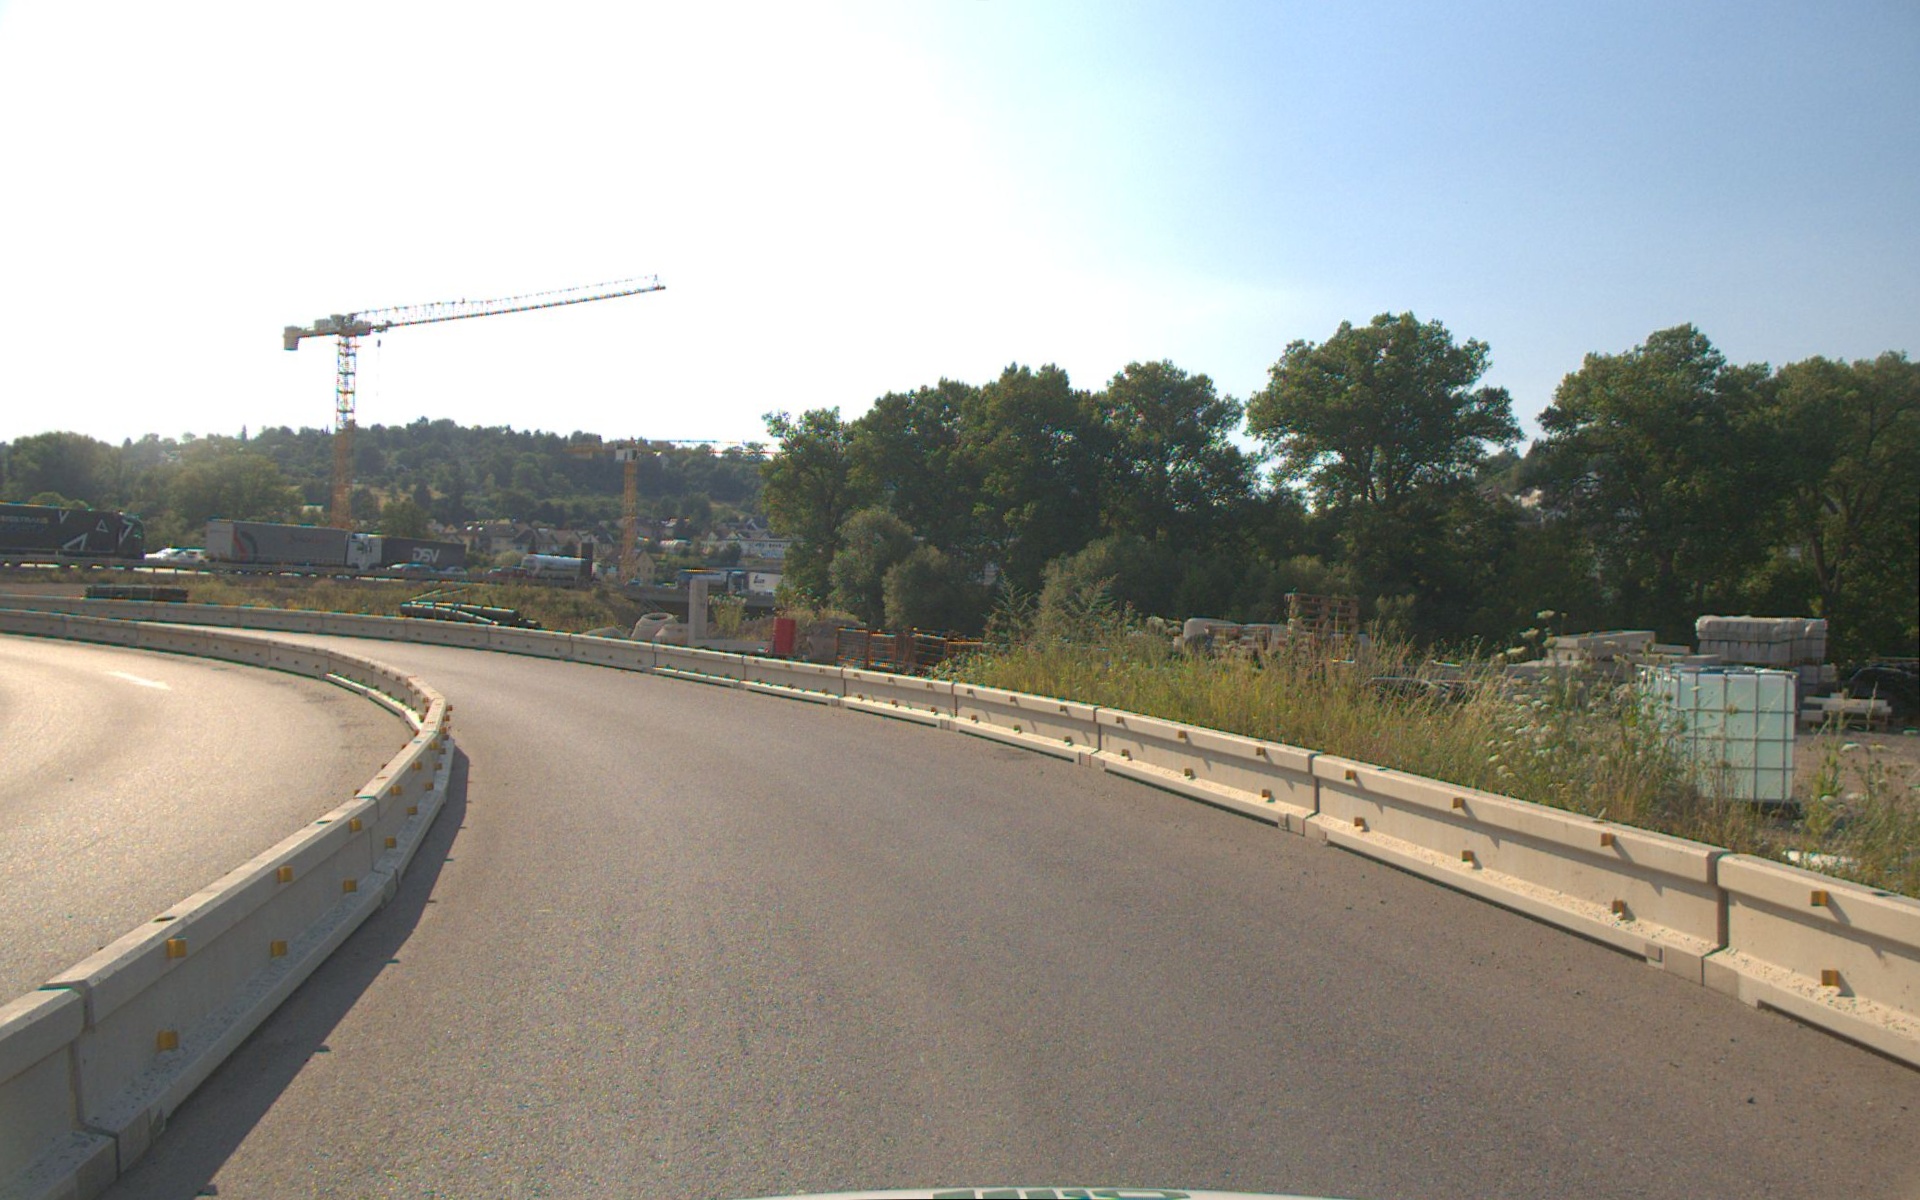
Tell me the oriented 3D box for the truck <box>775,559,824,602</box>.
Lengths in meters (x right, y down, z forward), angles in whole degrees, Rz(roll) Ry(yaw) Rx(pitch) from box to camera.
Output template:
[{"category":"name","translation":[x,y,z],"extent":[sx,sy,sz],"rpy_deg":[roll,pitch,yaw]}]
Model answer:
[{"category":"truck","translation":[-23.519,-2.777,243.221],"extent":[3.098,5.973,10.680],"rpy_deg":[1,0,18]}]

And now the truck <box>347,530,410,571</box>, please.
[{"category":"truck","translation":[-57.033,-4.853,162.385],"extent":[2.933,3.792,5.691],"rpy_deg":[1,0,17]}]

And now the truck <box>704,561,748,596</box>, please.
[{"category":"truck","translation":[-30.918,-2.871,218.959],"extent":[3.033,4.360,6.628],"rpy_deg":[3,0,17]}]

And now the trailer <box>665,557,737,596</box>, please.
[{"category":"trailer","translation":[-33.029,-2.942,211.808],"extent":[3.038,4.389,14.259],"rpy_deg":[3,0,17]}]

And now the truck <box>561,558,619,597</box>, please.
[{"category":"truck","translation":[-41.199,-2.457,184.321],"extent":[3.319,4.066,6.628],"rpy_deg":[3,0,17]}]

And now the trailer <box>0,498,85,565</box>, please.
[{"category":"trailer","translation":[-63.550,-4.622,109.652],"extent":[2.897,4.163,10.798],"rpy_deg":[2,0,18]}]

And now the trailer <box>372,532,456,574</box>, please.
[{"category":"trailer","translation":[-55.294,-4.748,167.917],"extent":[2.943,3.817,9.574],"rpy_deg":[1,0,18]}]

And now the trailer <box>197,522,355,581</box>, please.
[{"category":"trailer","translation":[-55.818,-3.871,135.726],"extent":[3.314,4.066,14.753],"rpy_deg":[3,0,17]}]

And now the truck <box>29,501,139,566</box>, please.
[{"category":"truck","translation":[-61.400,-4.615,116.103],"extent":[2.825,4.066,6.627],"rpy_deg":[3,0,18]}]

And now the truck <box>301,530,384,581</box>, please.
[{"category":"truck","translation":[-53.522,-3.792,143.487],"extent":[3.273,4.066,6.628],"rpy_deg":[3,0,17]}]

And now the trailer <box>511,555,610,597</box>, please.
[{"category":"trailer","translation":[-42.927,-2.513,178.498],"extent":[3.314,4.066,14.753],"rpy_deg":[3,0,17]}]
